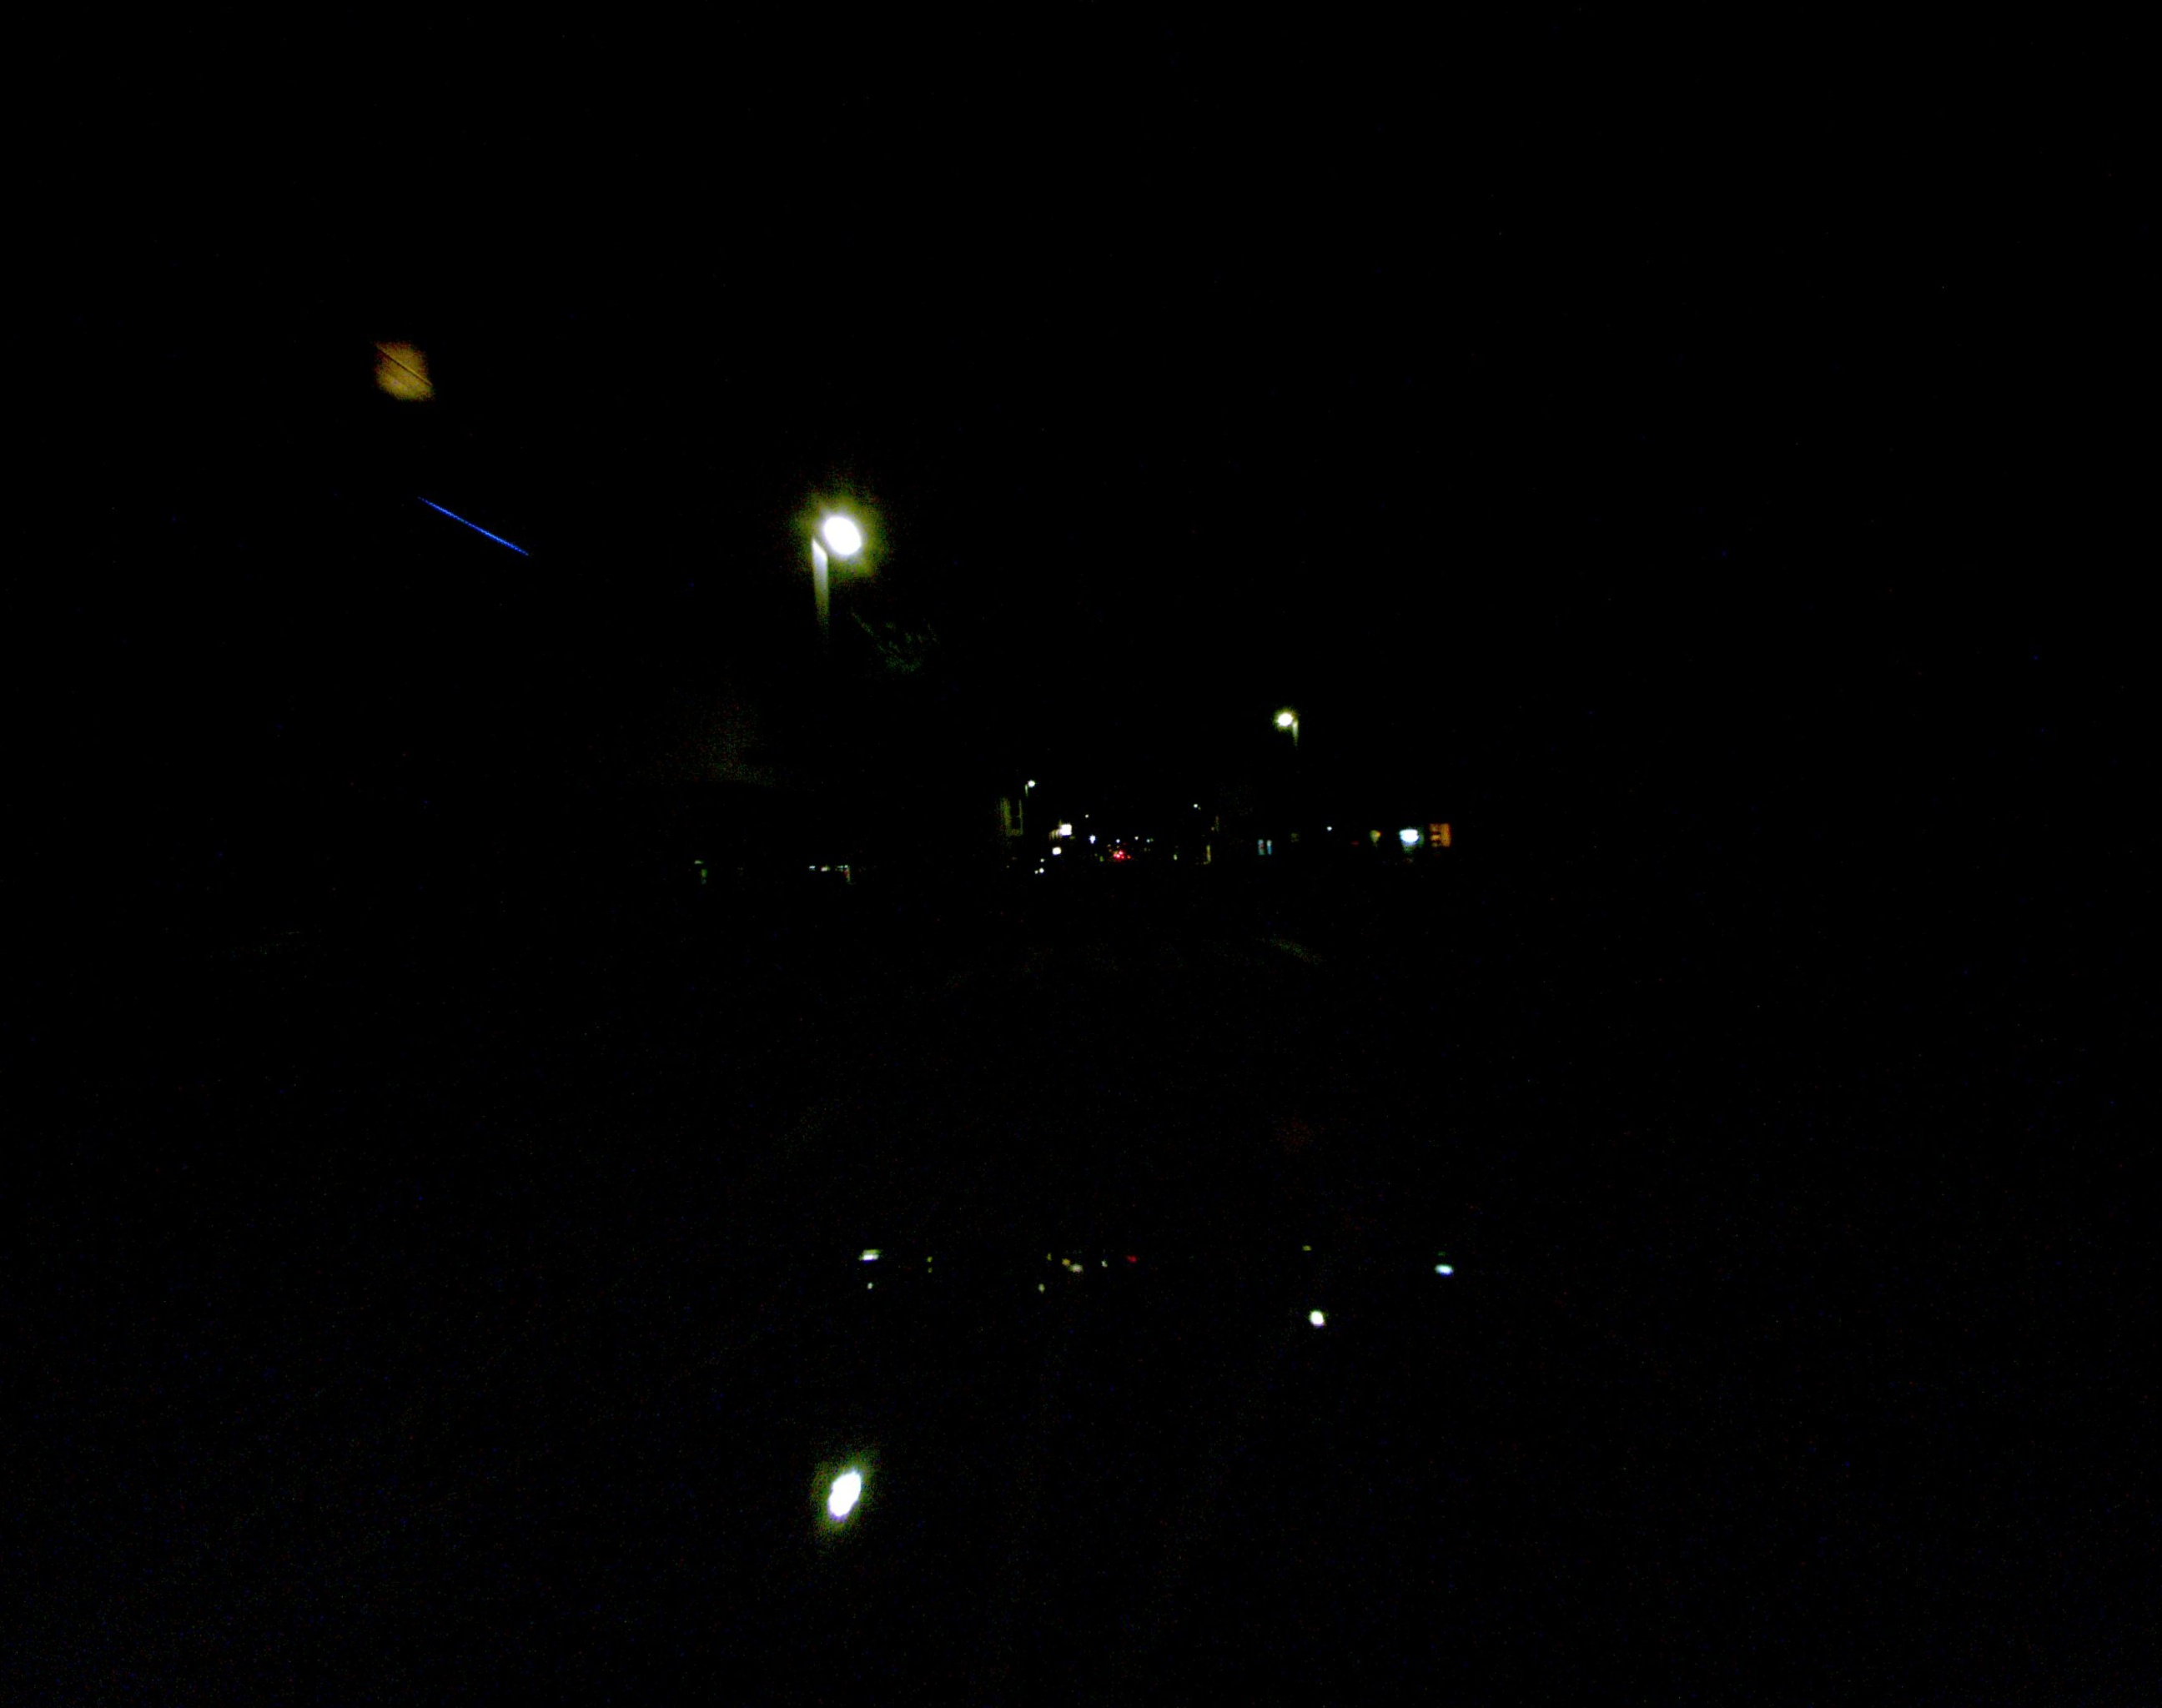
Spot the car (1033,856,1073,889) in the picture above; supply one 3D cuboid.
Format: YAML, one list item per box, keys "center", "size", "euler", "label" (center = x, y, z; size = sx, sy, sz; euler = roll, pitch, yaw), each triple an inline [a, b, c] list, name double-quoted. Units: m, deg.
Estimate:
- center: [-1.392, 0.909, 39.197]
  size: [1.747, 1.560, 4.209]
  euler: [-1, 0, 2]
  label: "car"

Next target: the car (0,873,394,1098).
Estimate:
- center: [-8.383, 0.978, 6.404]
  size: [3.514, 1.516, 1.820]
  euler: [1, 0, 0]
  label: "car"

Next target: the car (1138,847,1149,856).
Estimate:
- center: [11.925, -0.425, 145.904]
  size: [1.814, 1.637, 3.804]
  euler: [-4, 0, 3]
  label: "car"

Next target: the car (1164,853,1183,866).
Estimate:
- center: [11.114, 0.656, 91.692]
  size: [1.900, 1.411, 4.932]
  euler: [-4, 0, 3]
  label: "car"

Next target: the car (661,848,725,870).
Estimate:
- center: [-28.336, 0.343, 55.596]
  size: [3.808, 1.427, 1.727]
  euler: [2, 1, 1]
  label: "car"

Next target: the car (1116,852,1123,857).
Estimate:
- center: [10.450, 0.040, 207.713]
  size: [1.821, 1.271, 3.917]
  euler: [-2, 0, 3]
  label: "car"

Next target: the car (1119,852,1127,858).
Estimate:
- center: [10.546, 0.224, 189.730]
  size: [1.752, 1.635, 4.307]
  euler: [-2, 0, 0]
  label: "car"

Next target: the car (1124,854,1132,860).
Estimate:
- center: [10.700, 0.692, 171.559]
  size: [1.720, 1.419, 3.816]
  euler: [-2, 0, 4]
  label: "car"

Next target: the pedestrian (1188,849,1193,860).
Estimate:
- center: [15.932, 0.013, 110.720]
  size: [0.529, 1.579, 0.665]
  euler: [-2, 0, -4]
  label: "pedestrian"

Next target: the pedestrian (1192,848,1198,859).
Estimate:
- center: [16.579, -0.038, 110.537]
  size: [0.529, 1.579, 0.665]
  euler: [-2, 0, -6]
  label: "pedestrian"

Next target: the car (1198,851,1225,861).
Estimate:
- center: [19.883, 0.305, 116.029]
  size: [3.832, 1.408, 1.653]
  euler: [-1, 0, 5]
  label: "car"

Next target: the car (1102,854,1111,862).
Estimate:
- center: [4.736, 0.699, 140.939]
  size: [1.606, 1.474, 3.699]
  euler: [-1, 0, 1]
  label: "car"
